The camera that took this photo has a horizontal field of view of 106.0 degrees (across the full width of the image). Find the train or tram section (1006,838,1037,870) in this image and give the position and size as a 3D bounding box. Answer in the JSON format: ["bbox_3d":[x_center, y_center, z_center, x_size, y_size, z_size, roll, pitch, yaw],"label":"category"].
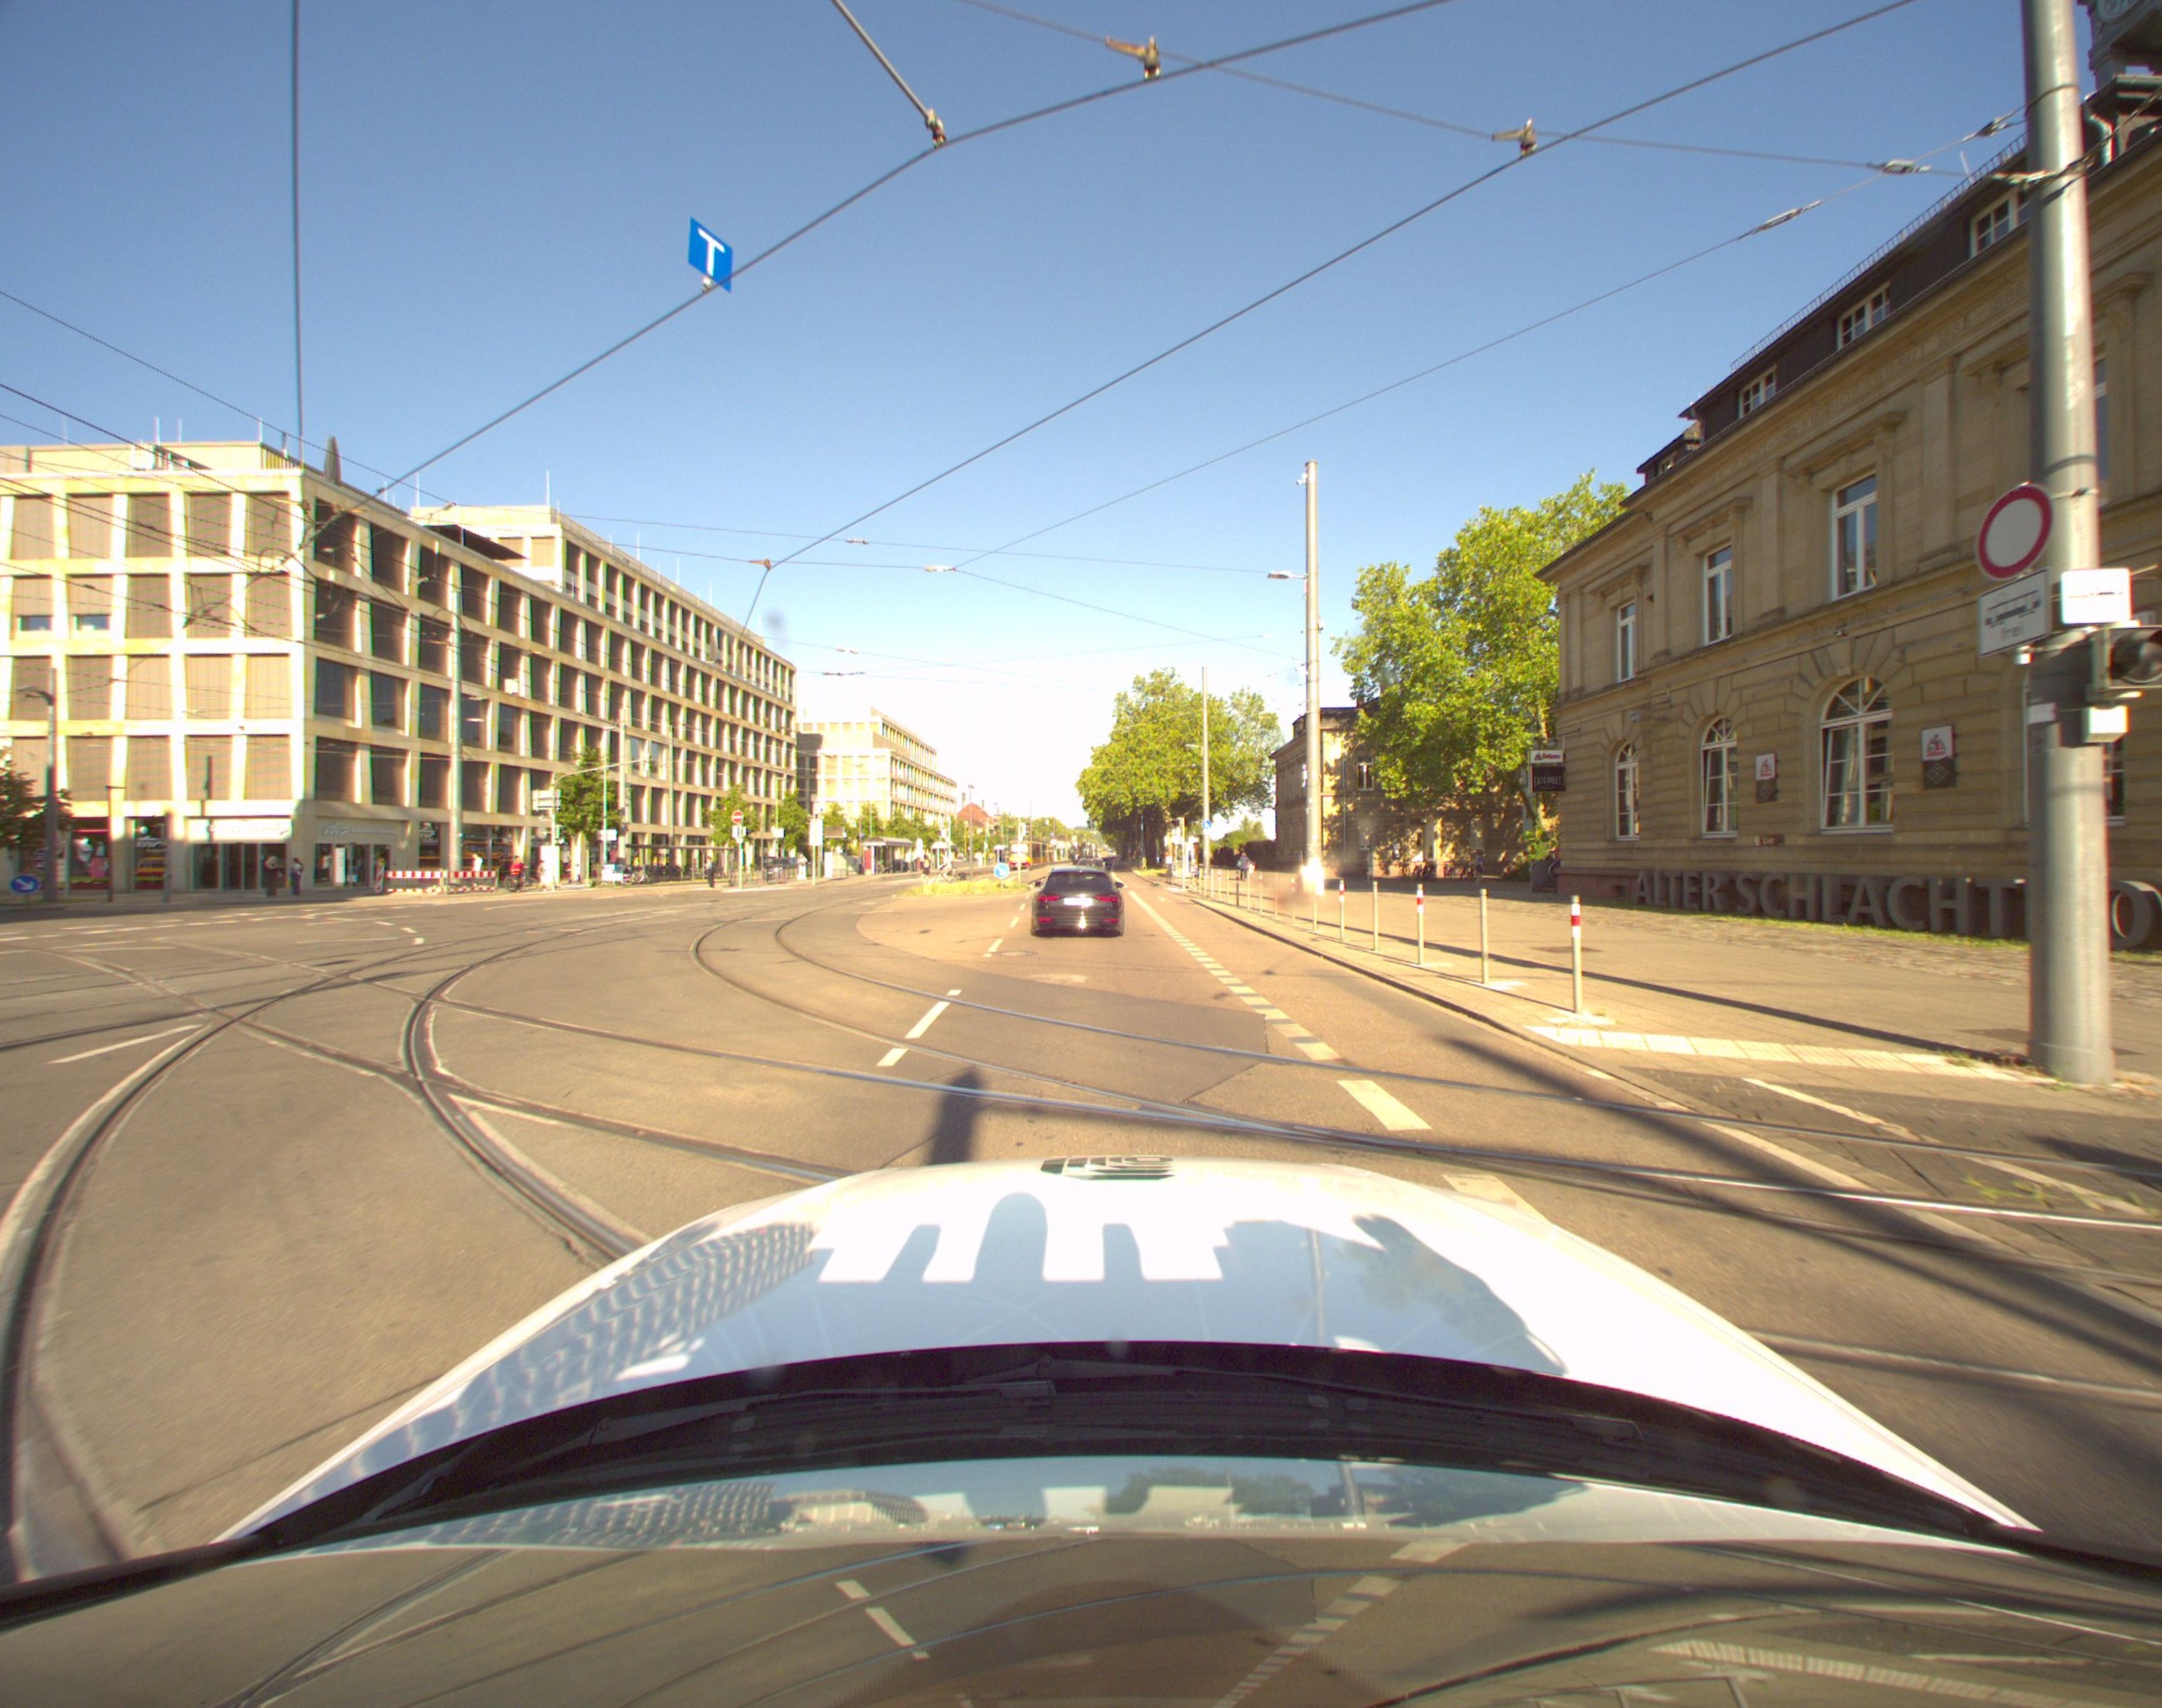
[{"bbox_3d":[-6.759,-0.030,93.758,2.600,3.451,11.132,-1,0,1],"label":"train or tram section"}]

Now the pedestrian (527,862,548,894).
[{"bbox_3d":[-26.465,1.169,39.688,0.590,1.525,0.585,-1,0,10],"label":"pedestrian"}]

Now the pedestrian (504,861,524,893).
[{"bbox_3d":[-28.310,1.146,40.678,0.576,1.574,0.599,-1,0,28],"label":"pedestrian"}]

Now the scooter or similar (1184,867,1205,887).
[{"bbox_3d":[5.580,1.117,40.027,0.935,0.966,0.361,-2,-1,0],"label":"scooter or similar"}]

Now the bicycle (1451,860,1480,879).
[{"bbox_3d":[22.203,0.876,47.059,0.524,1.047,2.229,-1,0,-2],"label":"bicycle"}]

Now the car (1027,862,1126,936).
[{"bbox_3d":[0.005,0.888,17.700,1.895,1.422,4.147,0,-1,3],"label":"car"}]

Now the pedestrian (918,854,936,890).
[{"bbox_3d":[-7.669,0.890,40.573,0.737,1.741,0.664,-1,0,1],"label":"pedestrian"}]

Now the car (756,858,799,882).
[{"bbox_3d":[-24.446,1.243,65.719,1.835,1.812,4.114,-1,0,1],"label":"car"}]

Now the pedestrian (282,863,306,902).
[{"bbox_3d":[-33.378,1.188,34.554,0.581,1.636,0.539,-1,0,23],"label":"pedestrian"}]

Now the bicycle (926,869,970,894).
[{"bbox_3d":[-6.289,1.288,38.561,2.005,1.108,0.762,-1,0,-9],"label":"bicycle"}]

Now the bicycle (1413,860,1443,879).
[{"bbox_3d":[19.734,0.884,46.386,0.525,1.047,2.354,-1,0,-6],"label":"bicycle"}]

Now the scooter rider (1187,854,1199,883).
[{"bbox_3d":[5.514,0.703,40.035,0.483,1.386,0.377,-2,-1,0],"label":"scooter rider"}]

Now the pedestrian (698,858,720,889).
[{"bbox_3d":[-18.547,0.982,40.576,0.753,1.532,0.625,-1,0,6],"label":"pedestrian"}]

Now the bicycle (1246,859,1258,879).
[{"bbox_3d":[10.291,0.907,48.966,0.433,1.145,1.340,-1,0,0],"label":"bicycle"}]

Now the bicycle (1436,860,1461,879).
[{"bbox_3d":[21.138,0.856,46.878,0.523,1.047,2.233,-1,0,3],"label":"bicycle"}]

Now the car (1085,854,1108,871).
[{"bbox_3d":[1.357,0.738,71.824,1.895,1.486,4.147,0,-1,3],"label":"car"}]

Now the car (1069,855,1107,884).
[{"bbox_3d":[0.435,0.813,44.069,1.895,1.486,4.147,0,-1,3],"label":"car"}]

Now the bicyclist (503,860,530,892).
[{"bbox_3d":[-26.813,1.036,38.689,0.700,1.525,0.787,-1,0,10],"label":"bicyclist"}]

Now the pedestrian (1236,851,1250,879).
[{"bbox_3d":[9.726,0.683,48.968,0.679,1.660,0.758,-1,0,0],"label":"pedestrian"}]

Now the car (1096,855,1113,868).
[{"bbox_3d":[2.813,0.906,96.374,1.895,1.486,4.147,0,-1,3],"label":"car"}]

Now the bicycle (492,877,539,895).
[{"bbox_3d":[-26.868,1.520,38.703,1.962,0.775,0.621,-1,0,10],"label":"bicycle"}]

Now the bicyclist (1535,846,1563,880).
[{"bbox_3d":[24.180,0.462,42.093,0.979,1.712,0.823,-1,0,-11],"label":"bicyclist"}]

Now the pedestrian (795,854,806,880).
[{"bbox_3d":[-17.714,0.817,51.367,0.620,1.664,0.510,-1,0,-23],"label":"pedestrian"}]

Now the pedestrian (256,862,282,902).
[{"bbox_3d":[-34.136,1.170,34.228,0.582,1.636,0.538,-1,0,12],"label":"pedestrian"}]

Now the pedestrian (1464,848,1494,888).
[{"bbox_3d":[18.738,0.661,38.336,0.979,1.865,0.823,-1,0,-11],"label":"pedestrian"}]

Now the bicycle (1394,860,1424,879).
[{"bbox_3d":[18.675,0.869,46.436,0.525,1.047,2.354,-1,0,-6],"label":"bicycle"}]

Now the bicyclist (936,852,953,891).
[{"bbox_3d":[-6.453,0.804,38.539,0.756,1.819,0.762,-1,0,-9],"label":"bicyclist"}]
